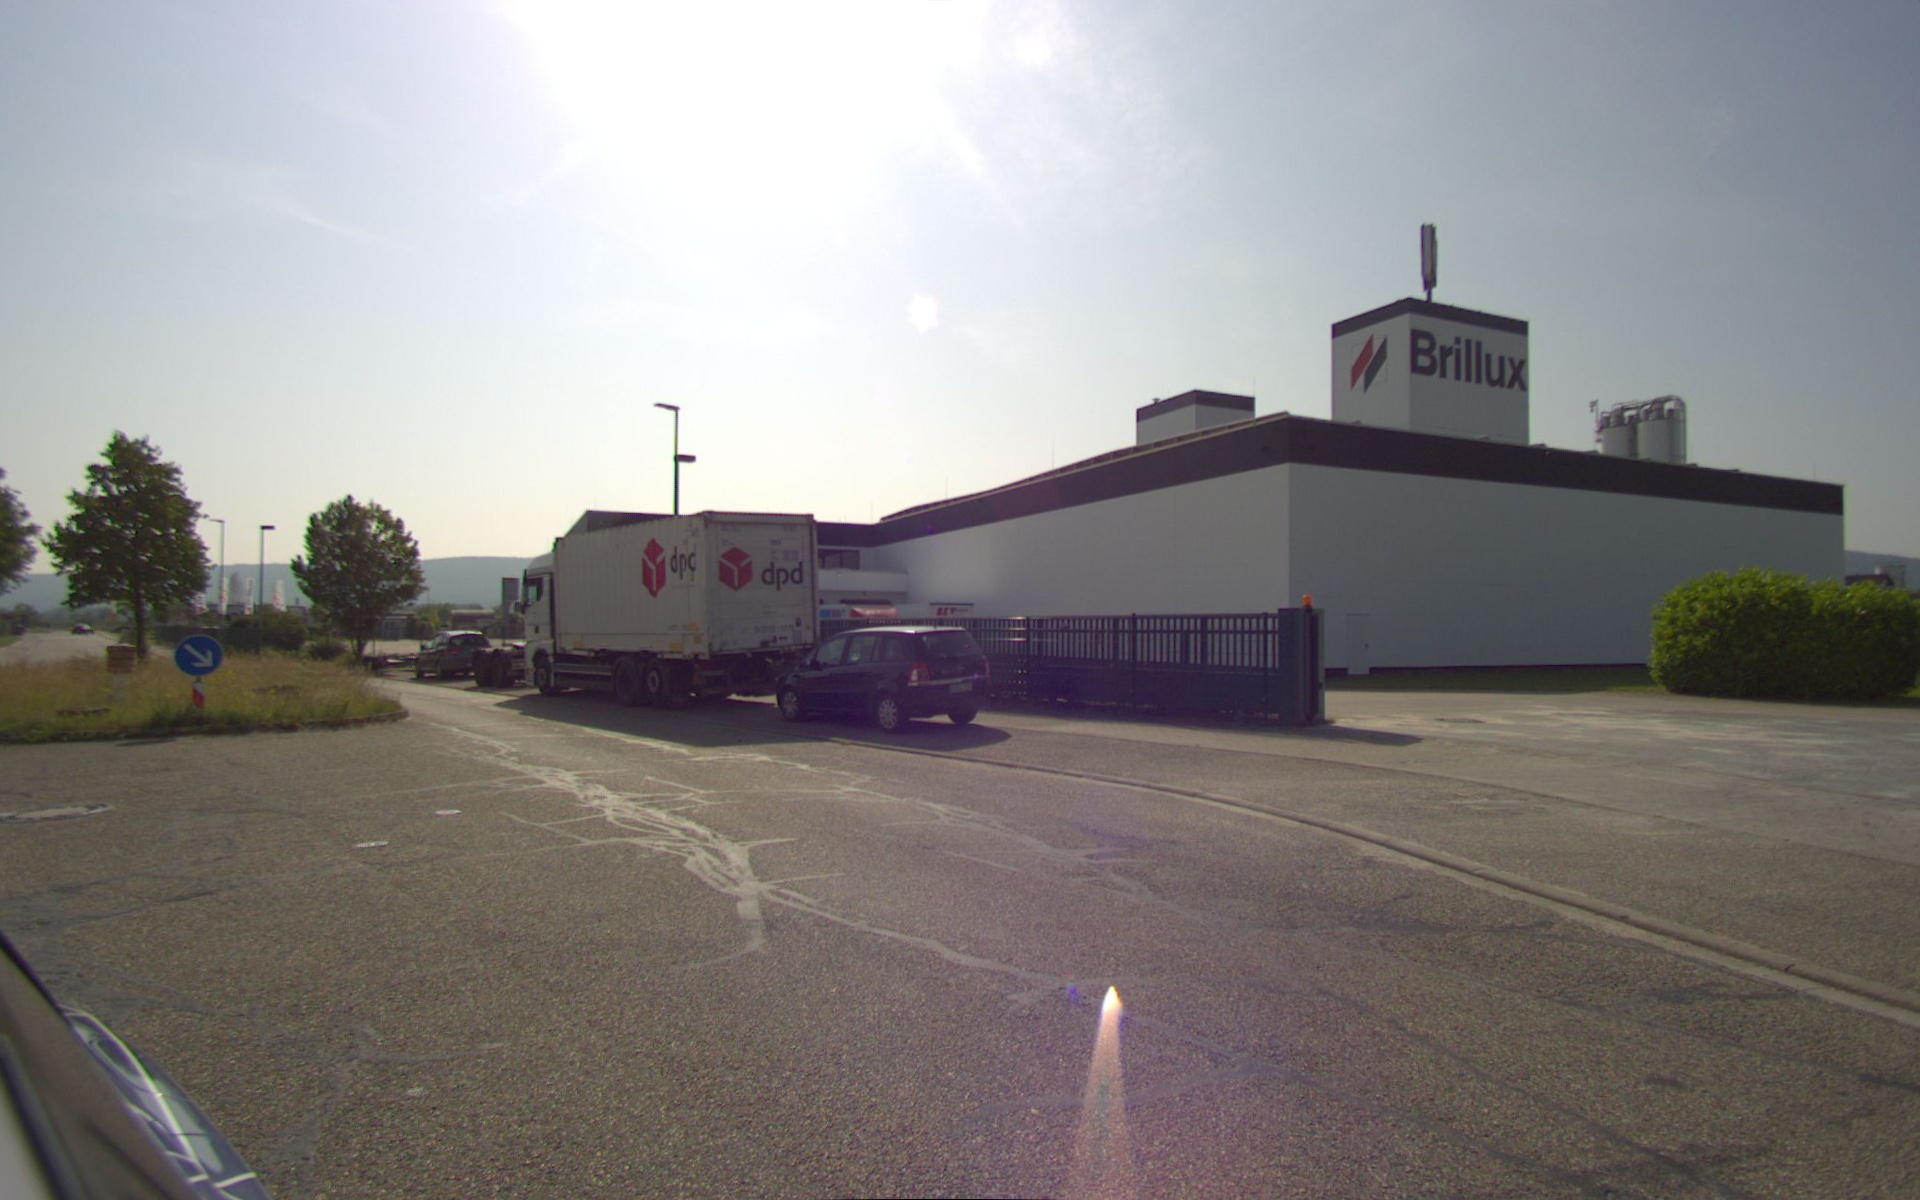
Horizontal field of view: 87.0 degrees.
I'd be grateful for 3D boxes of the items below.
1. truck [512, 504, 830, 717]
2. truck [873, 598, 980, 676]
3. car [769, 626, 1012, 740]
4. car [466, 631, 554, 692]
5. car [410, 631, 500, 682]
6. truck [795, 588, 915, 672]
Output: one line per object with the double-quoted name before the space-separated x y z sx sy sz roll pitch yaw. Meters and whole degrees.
"truck" -7.051 0.264 23.126 2.743 3.883 10.074 -2 0 -42
"truck" -2.103 2.095 57.684 2.859 4.087 9.269 1 -2 -24
"car" -1.265 1.267 16.776 1.742 1.604 4.197 -1 -1 -43
"car" -13.141 1.754 29.483 1.421 1.619 3.171 -1 -1 -42
"car" -17.258 1.876 34.509 1.710 1.594 3.971 -1 -1 -42
"truck" -6.005 1.644 54.917 2.742 4.076 12.394 1 -2 -24
